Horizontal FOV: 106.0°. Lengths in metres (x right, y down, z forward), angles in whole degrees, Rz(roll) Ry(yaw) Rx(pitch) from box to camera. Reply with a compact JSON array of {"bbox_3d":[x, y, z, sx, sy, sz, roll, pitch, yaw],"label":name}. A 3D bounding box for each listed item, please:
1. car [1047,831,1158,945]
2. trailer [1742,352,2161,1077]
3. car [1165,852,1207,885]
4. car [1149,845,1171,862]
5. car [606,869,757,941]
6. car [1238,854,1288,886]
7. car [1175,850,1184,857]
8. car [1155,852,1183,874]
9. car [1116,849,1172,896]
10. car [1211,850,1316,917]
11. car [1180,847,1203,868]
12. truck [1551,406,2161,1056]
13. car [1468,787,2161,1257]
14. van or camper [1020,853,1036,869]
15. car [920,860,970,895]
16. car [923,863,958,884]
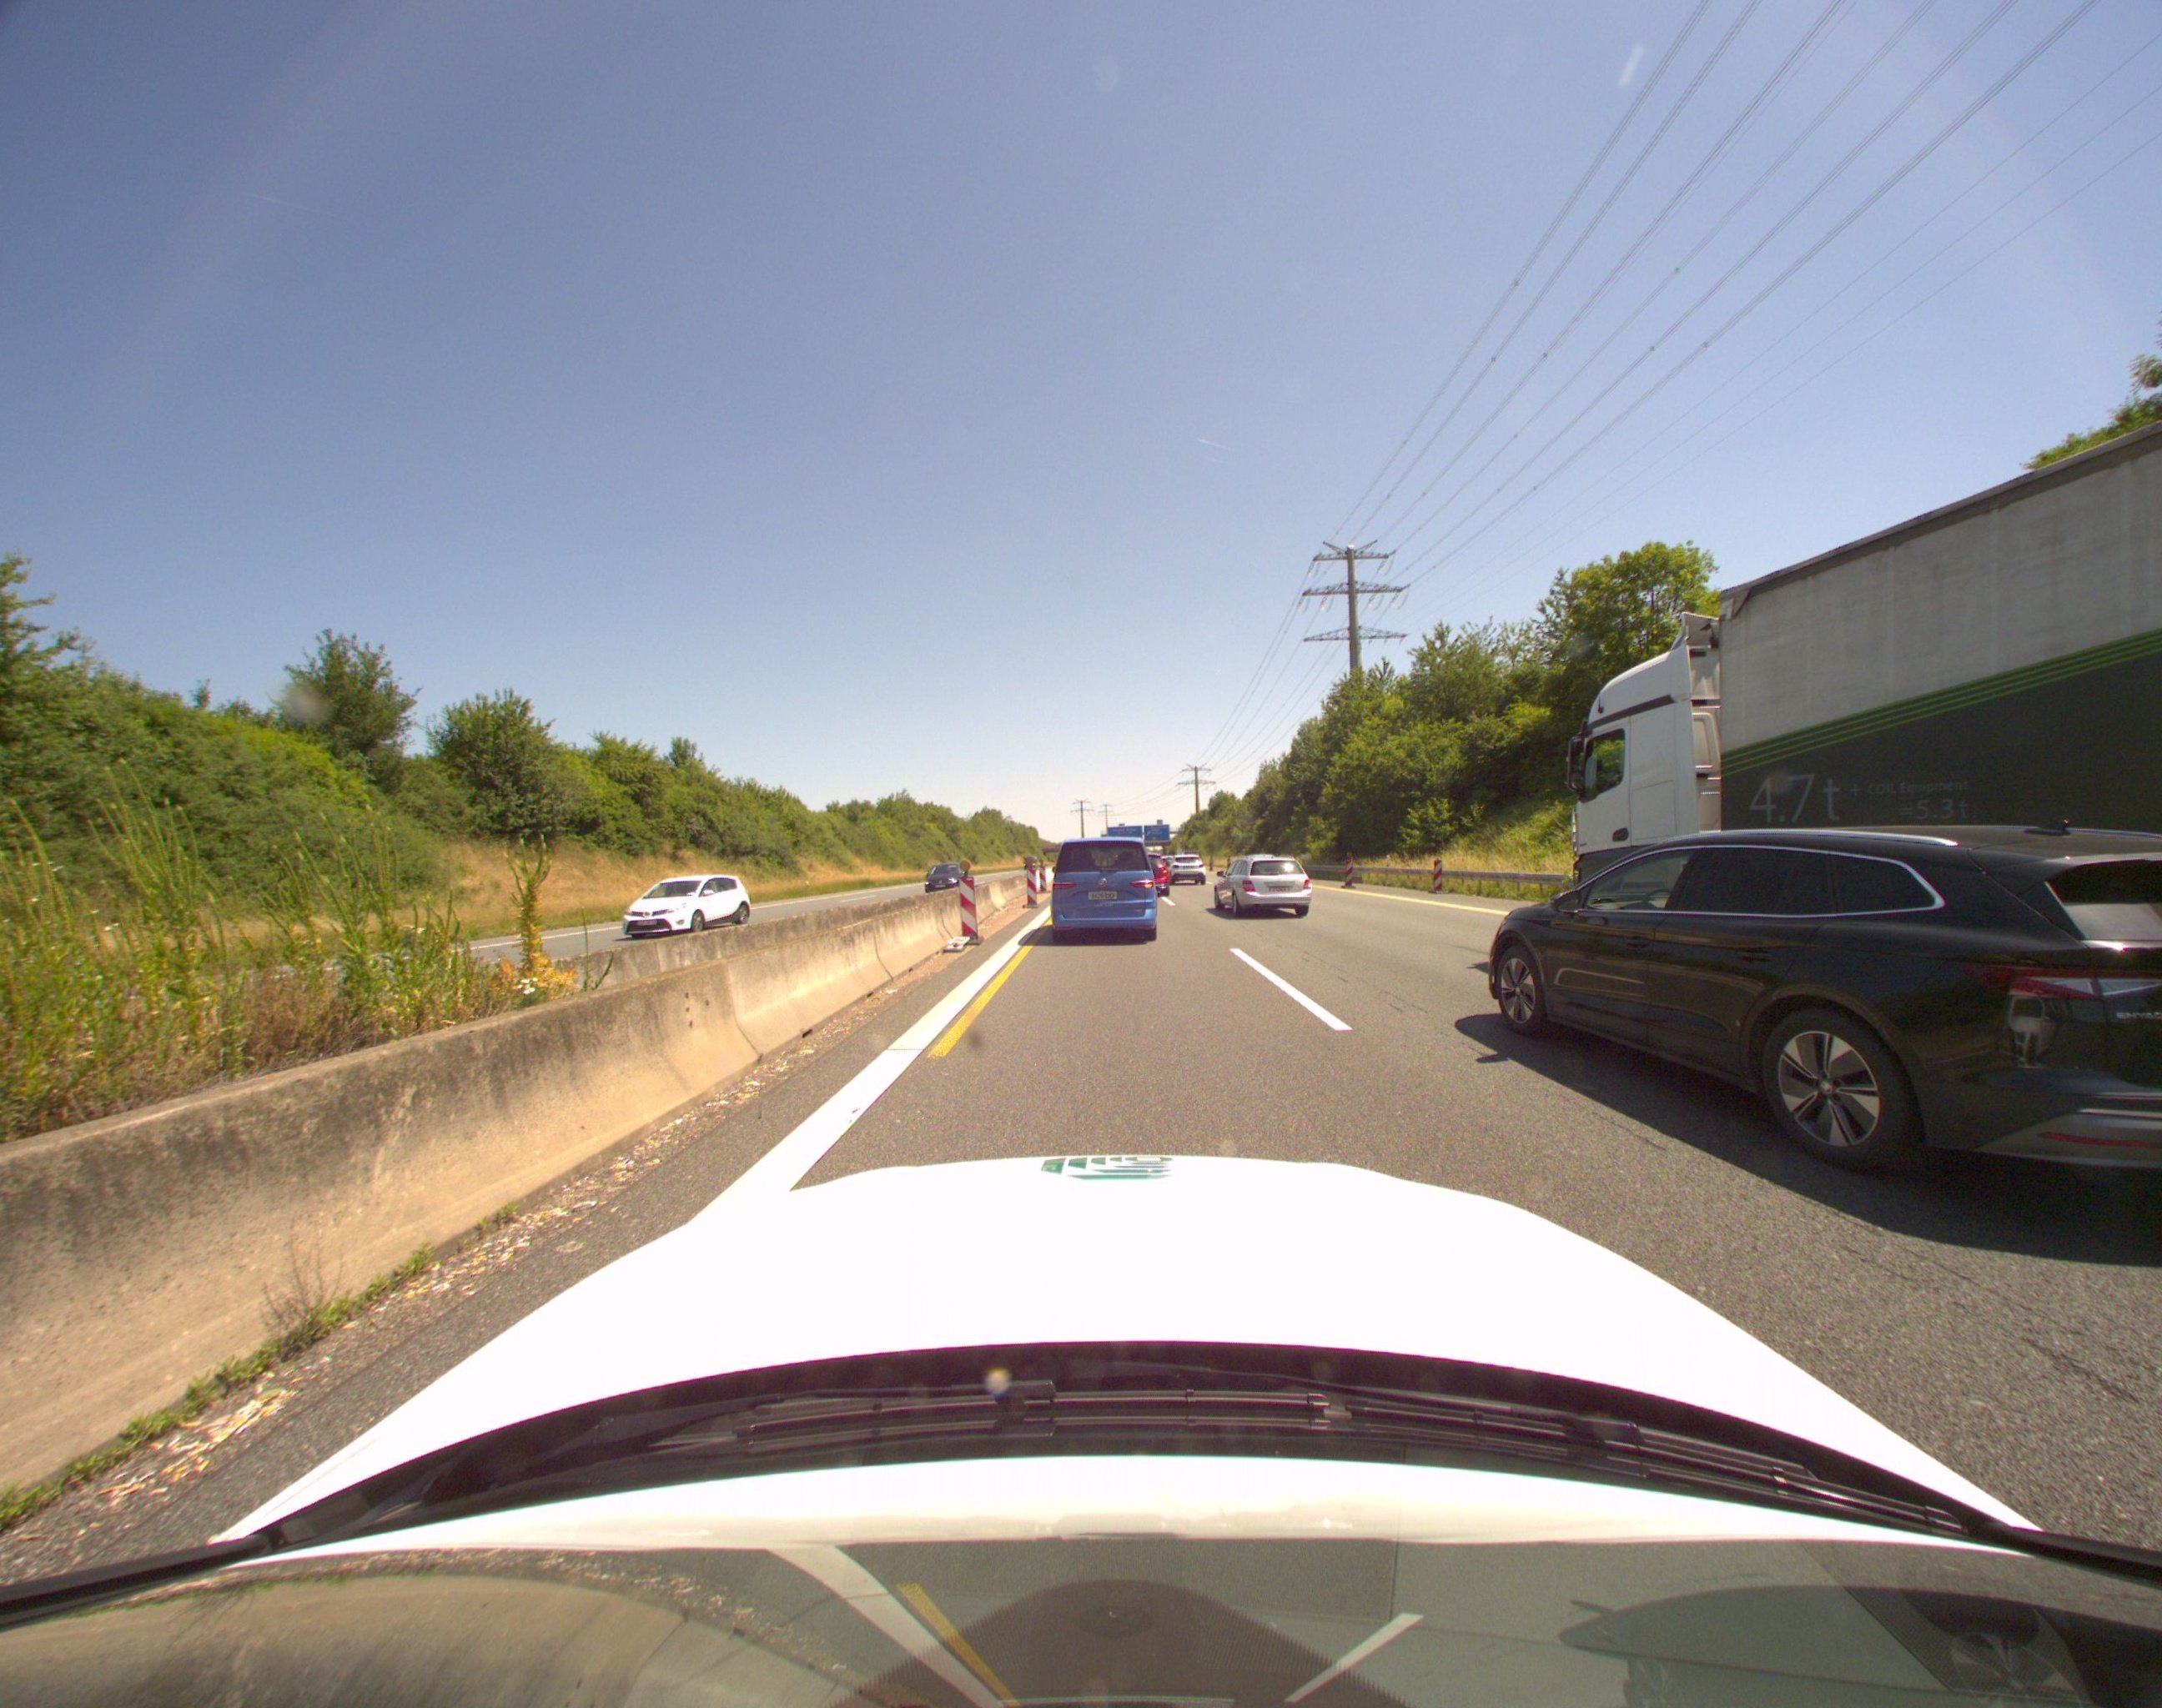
[{"bbox_3d":[0.410,0.589,15.982,1.868,1.912,4.360,0,0,1],"label":"car"},{"bbox_3d":[7.312,-0.811,0.954,2.773,4.047,13.117,0,0,2],"label":"trailer"},{"bbox_3d":[5.437,0.740,42.481,1.791,1.594,4.228,0,0,2],"label":"car"},{"bbox_3d":[7.596,-0.015,78.667,1.791,1.594,4.228,0,0,2],"label":"car"},{"bbox_3d":[-11.040,1.348,22.902,1.986,1.662,4.231,-3,0,2],"label":"car"},{"bbox_3d":[8.664,0.726,39.020,1.694,1.448,3.789,0,0,2],"label":"car"},{"bbox_3d":[24.720,-0.164,204.183,1.868,1.671,4.360,0,0,1],"label":"car"},{"bbox_3d":[6.579,0.684,61.533,1.791,1.594,4.228,0,0,2],"label":"car"},{"bbox_3d":[2.328,0.680,31.134,1.868,1.671,4.360,0,0,1],"label":"car"},{"bbox_3d":[4.515,0.692,20.730,1.764,1.517,4.360,0,0,1],"label":"car"},{"bbox_3d":[10.524,0.340,77.771,1.790,2.014,4.229,0,0,2],"label":"car"},{"bbox_3d":[7.558,-0.762,7.946,2.723,4.047,5.796,0,-1,2],"label":"truck"},{"bbox_3d":[4.298,0.602,5.096,1.695,1.655,4.430,0,0,1],"label":"car"},{"bbox_3d":[-9.731,1.230,151.216,2.215,2.710,7.081,-4,-1,1],"label":"van or camper"},{"bbox_3d":[-6.915,1.156,41.853,1.767,1.699,4.171,0,0,1],"label":"car"},{"bbox_3d":[-12.539,1.732,72.964,1.986,1.650,4.632,-4,0,2],"label":"car"}]
